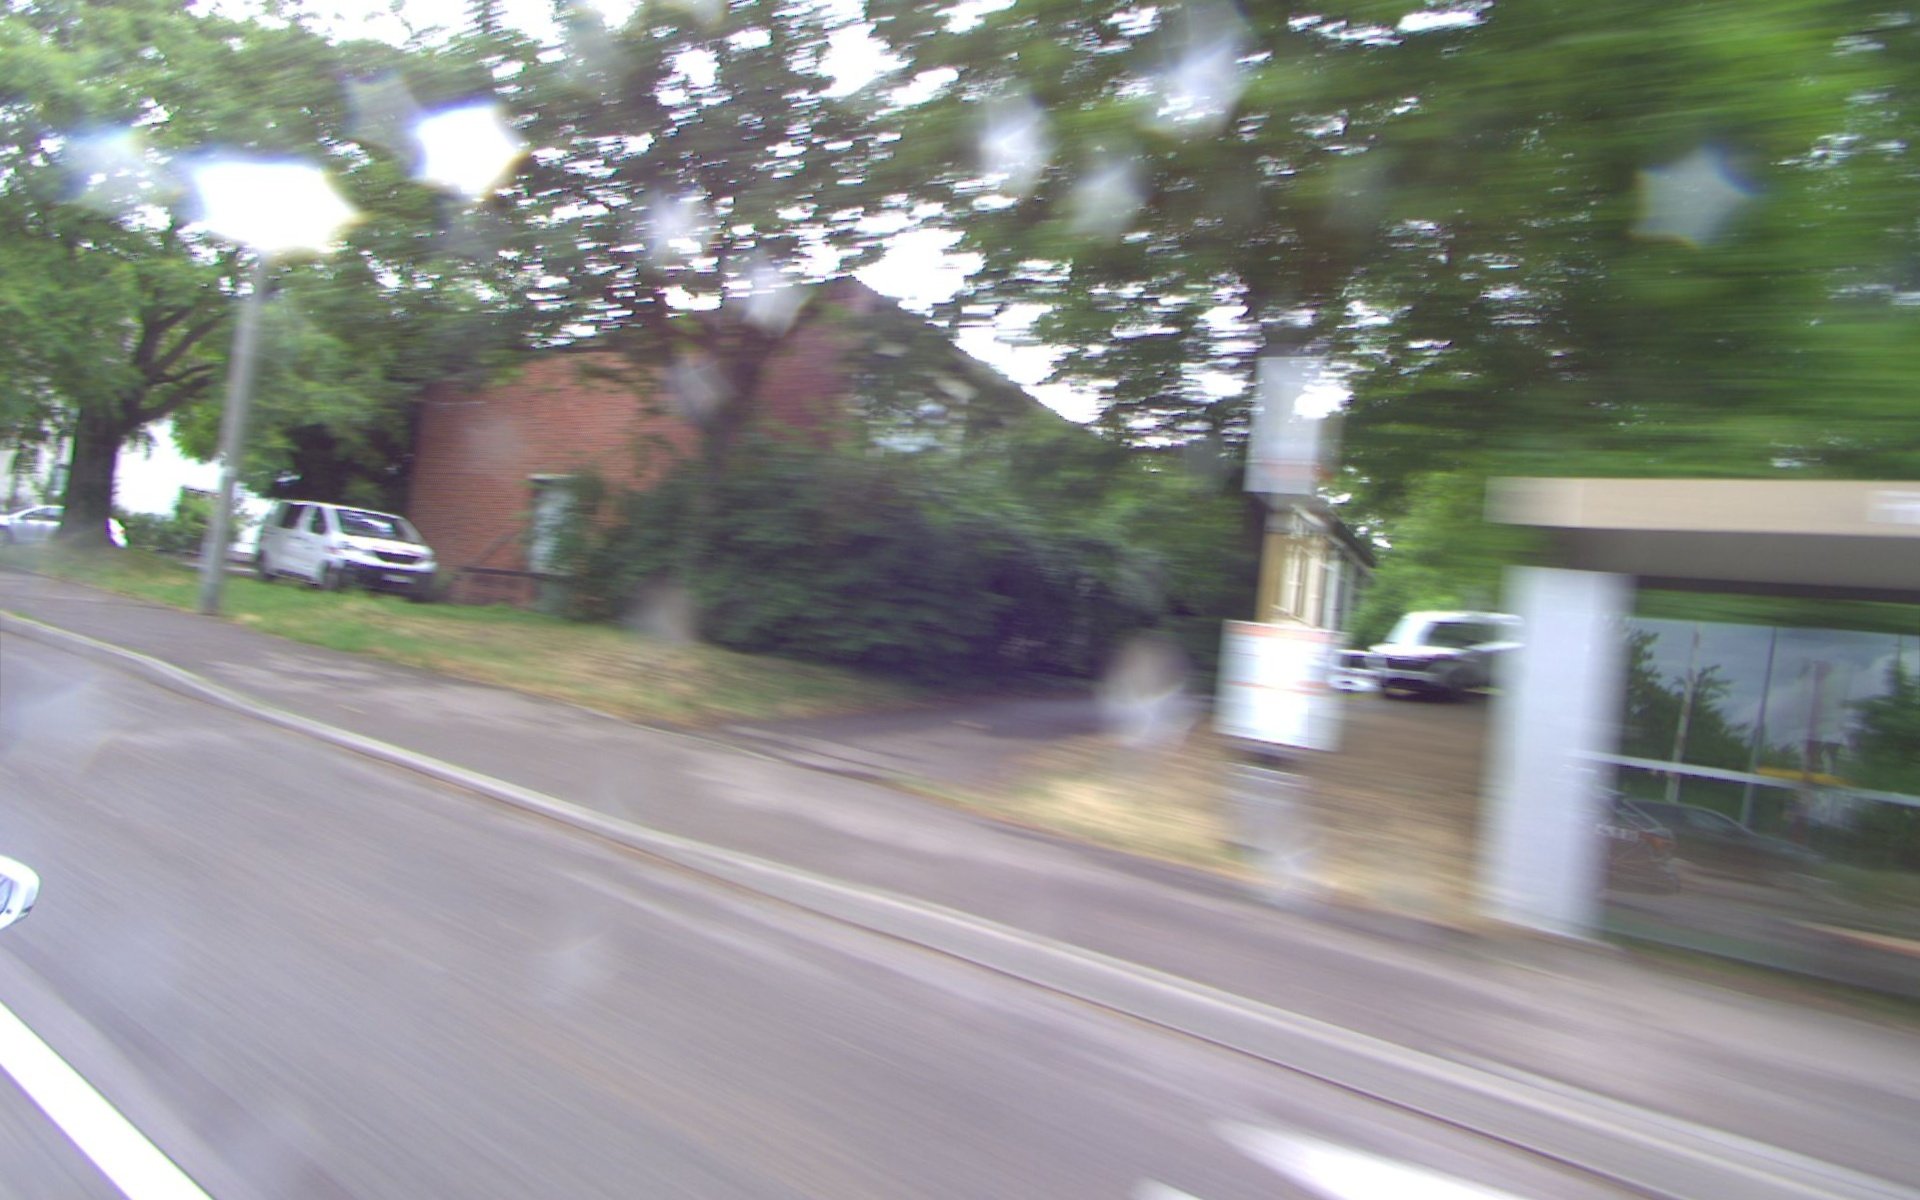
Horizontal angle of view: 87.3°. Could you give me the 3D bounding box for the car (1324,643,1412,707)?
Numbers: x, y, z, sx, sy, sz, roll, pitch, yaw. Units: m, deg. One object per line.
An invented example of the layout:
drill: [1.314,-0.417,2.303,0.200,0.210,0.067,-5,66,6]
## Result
car: [14.447,2.699,35.437,1.967,1.799,5.020,6,-3,31]

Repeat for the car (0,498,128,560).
car: [-28.361,-2.221,30.825,1.675,1.439,3.996,5,-2,29]

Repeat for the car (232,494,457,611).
car: [-13.157,-1.050,21.400,5.065,1.824,1.998,6,-4,35]

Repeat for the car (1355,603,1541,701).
car: [10.458,1.082,21.454,4.286,1.803,1.783,2,2,-38]
